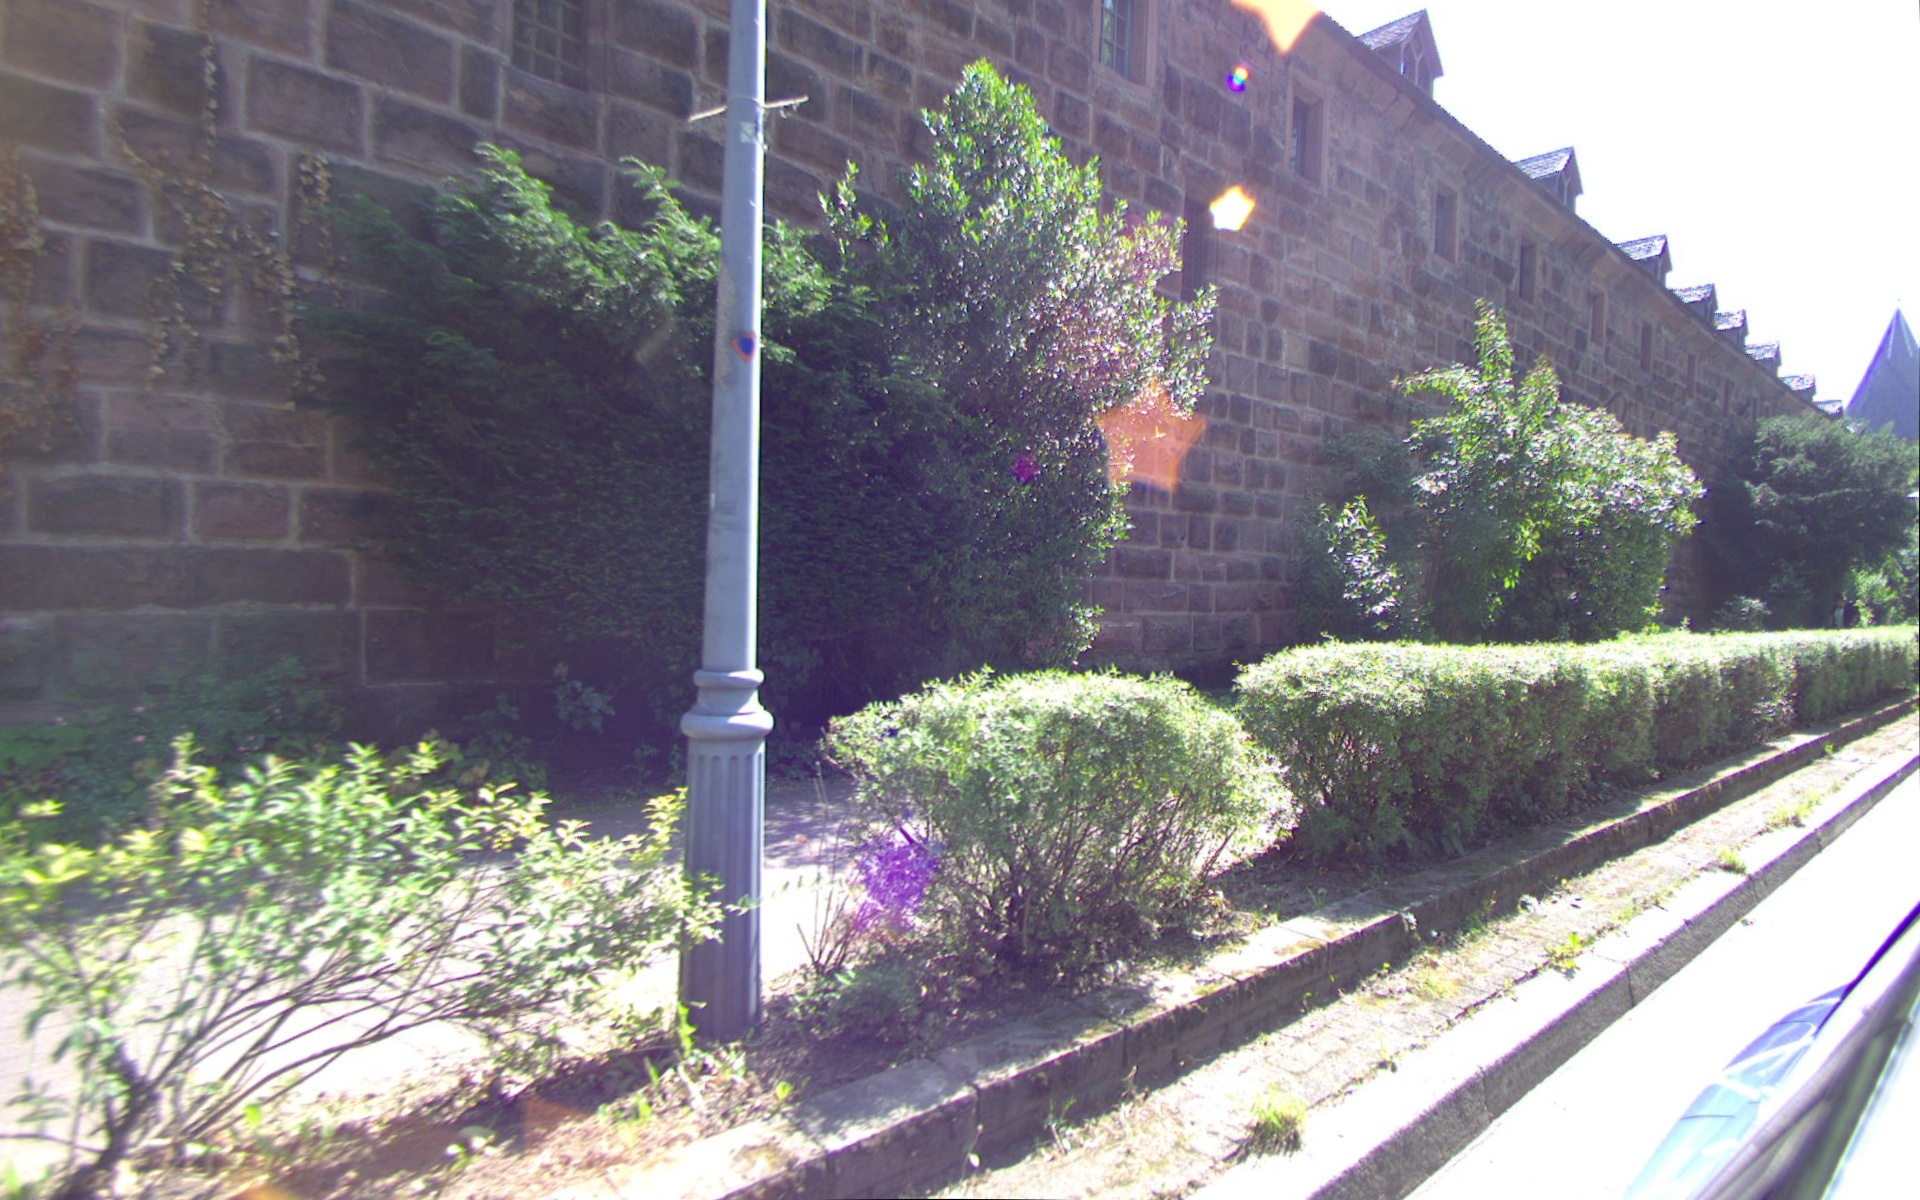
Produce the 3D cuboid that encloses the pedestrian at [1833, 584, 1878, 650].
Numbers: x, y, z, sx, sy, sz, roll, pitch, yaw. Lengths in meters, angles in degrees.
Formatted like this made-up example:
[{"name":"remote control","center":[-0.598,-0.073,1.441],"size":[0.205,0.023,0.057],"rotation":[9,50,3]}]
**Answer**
[{"name":"pedestrian","center":[23.258,0.434,26.280],"size":[0.692,1.673,0.700],"rotation":[1,2,-38]}]
